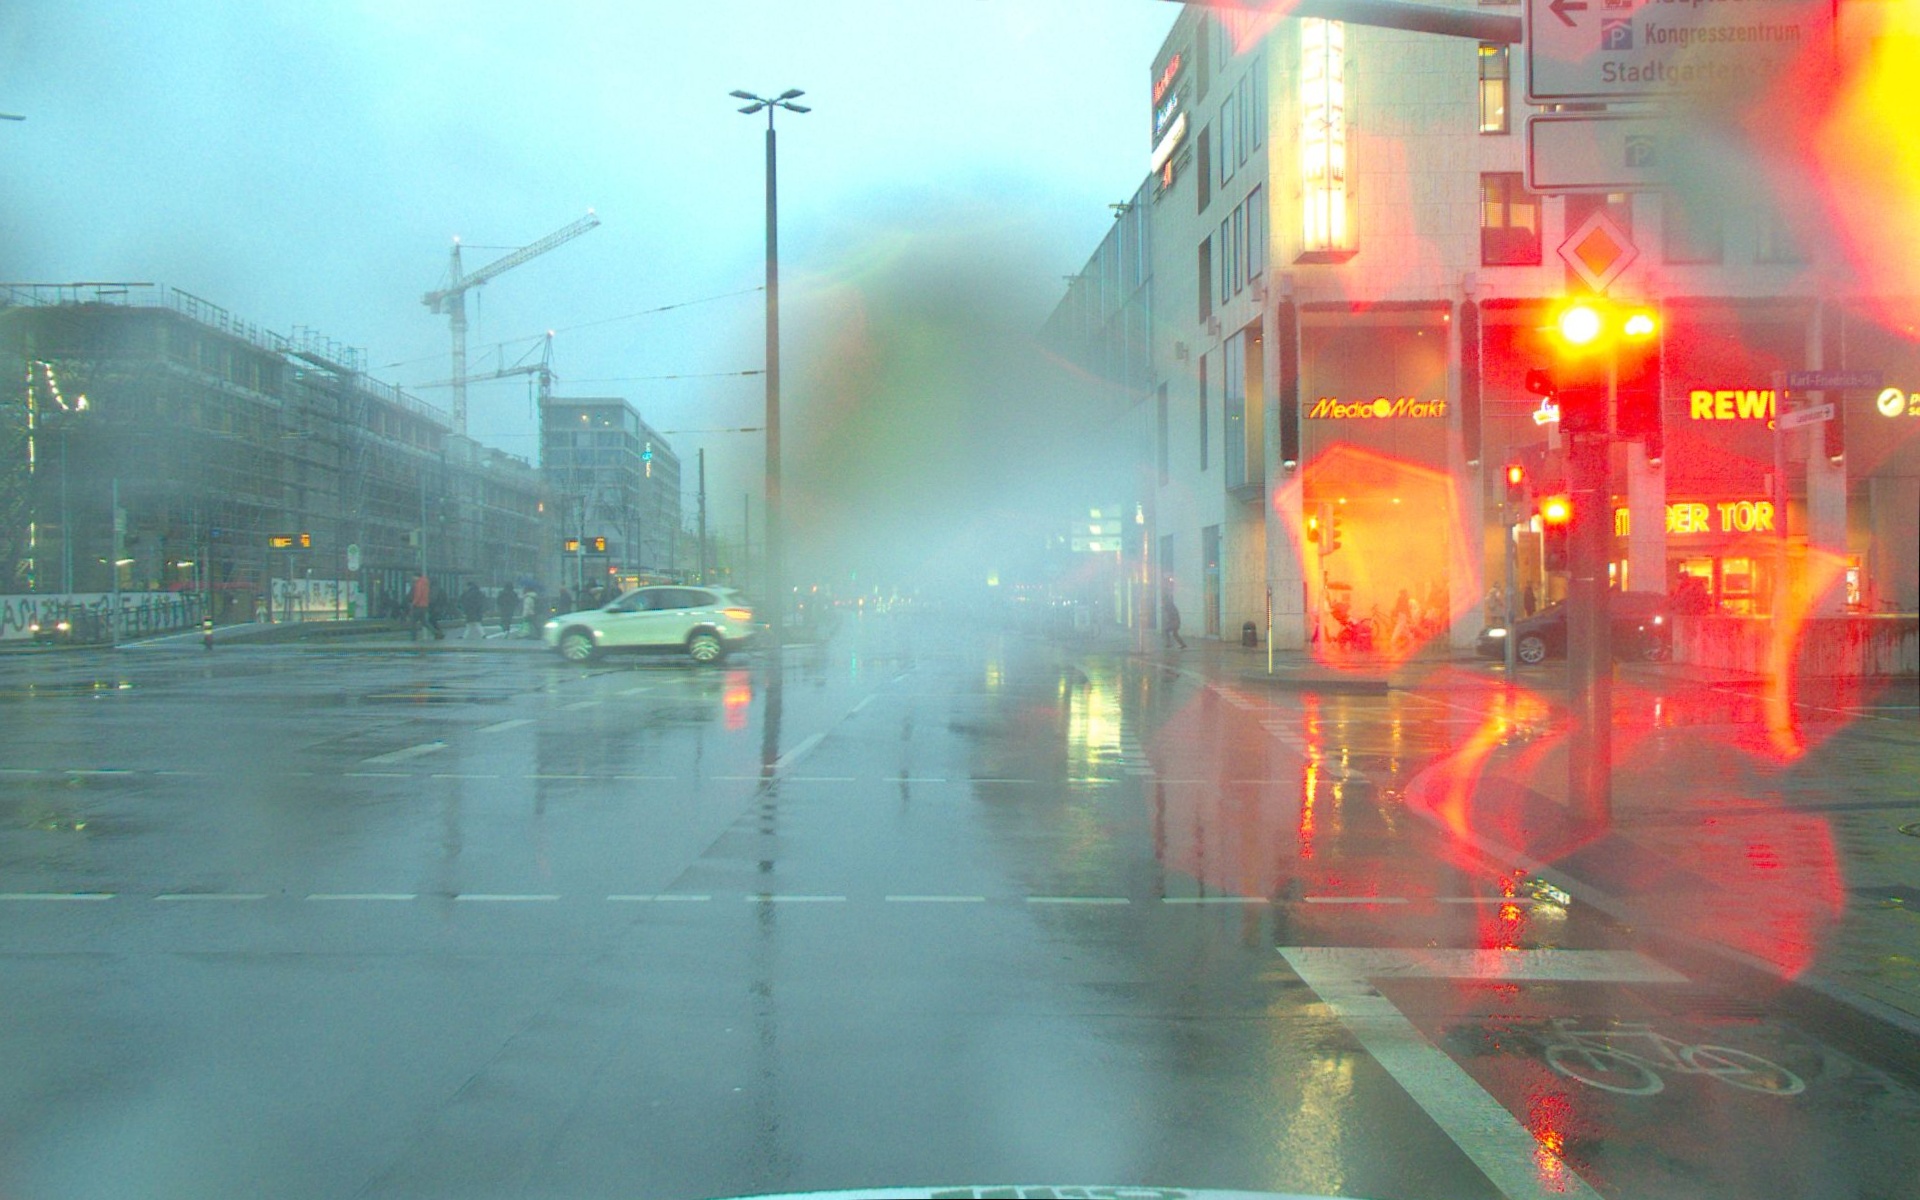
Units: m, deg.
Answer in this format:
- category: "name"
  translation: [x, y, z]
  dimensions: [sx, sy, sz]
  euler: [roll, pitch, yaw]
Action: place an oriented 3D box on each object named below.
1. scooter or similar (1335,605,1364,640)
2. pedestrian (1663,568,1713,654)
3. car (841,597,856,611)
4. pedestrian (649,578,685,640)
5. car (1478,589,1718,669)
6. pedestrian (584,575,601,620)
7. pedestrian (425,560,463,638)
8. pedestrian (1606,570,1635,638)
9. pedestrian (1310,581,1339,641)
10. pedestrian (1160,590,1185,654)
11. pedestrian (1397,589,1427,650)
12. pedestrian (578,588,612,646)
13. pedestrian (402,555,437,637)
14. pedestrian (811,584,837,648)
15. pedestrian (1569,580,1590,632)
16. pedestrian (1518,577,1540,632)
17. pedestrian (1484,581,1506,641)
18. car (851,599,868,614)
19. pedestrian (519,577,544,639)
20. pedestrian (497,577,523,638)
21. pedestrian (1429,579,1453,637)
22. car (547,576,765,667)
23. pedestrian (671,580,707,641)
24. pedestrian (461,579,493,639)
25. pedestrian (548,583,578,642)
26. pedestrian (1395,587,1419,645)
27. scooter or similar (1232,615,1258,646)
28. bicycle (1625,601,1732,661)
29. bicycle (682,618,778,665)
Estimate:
- category: "scooter or similar"
  translation: [11.245, 0.646, 47.738]
  dimensions: [0.726, 1.011, 0.400]
  euler: [-1, 0, -1]
- category: "pedestrian"
  translation: [13.990, 0.212, 31.790]
  dimensions: [0.764, 1.623, 0.613]
  euler: [-1, 0, 14]
- category: "car"
  translation: [-14.669, 0.542, 217.801]
  dimensions: [1.850, 1.814, 3.713]
  euler: [1, -1, -1]
- category: "pedestrian"
  translation: [-8.179, 0.252, 46.214]
  dimensions: [0.813, 1.709, 0.620]
  euler: [-1, 0, 6]
- category: "car"
  translation: [13.422, 0.601, 35.024]
  dimensions: [4.440, 1.601, 1.798]
  euler: [-1, 0, 7]
- category: "pedestrian"
  translation: [-14.815, -0.107, 66.704]
  dimensions: [0.648, 1.776, 0.734]
  euler: [-1, 0, -11]
- category: "pedestrian"
  translation: [-13.815, -0.024, 44.282]
  dimensions: [0.770, 2.049, 0.604]
  euler: [-1, 0, -39]
- category: "pedestrian"
  translation: [16.622, 0.098, 41.623]
  dimensions: [0.526, 1.715, 0.547]
  euler: [-1, 0, 37]
- category: "pedestrian"
  translation: [10.511, 0.317, 47.724]
  dimensions: [0.726, 1.696, 0.400]
  euler: [-1, 0, -1]
- category: "pedestrian"
  translation: [6.018, 0.625, 46.829]
  dimensions: [0.620, 1.803, 0.483]
  euler: [-1, 0, -2]
- category: "pedestrian"
  translation: [13.389, 0.580, 48.978]
  dimensions: [0.688, 1.791, 0.667]
  euler: [-1, 0, -1]
- category: "pedestrian"
  translation: [-10.358, 0.480, 46.935]
  dimensions: [0.793, 1.635, 0.745]
  euler: [-1, 0, -1]
- category: "pedestrian"
  translation: [-14.225, -0.109, 43.541]
  dimensions: [0.682, 2.124, 0.604]
  euler: [0, 0, -41]
- category: "pedestrian"
  translation: [-3.901, 0.458, 47.386]
  dimensions: [0.688, 1.791, 0.652]
  euler: [-1, 0, -1]
- category: "pedestrian"
  translation: [20.995, 0.211, 56.068]
  dimensions: [0.526, 1.748, 0.500]
  euler: [-1, 0, 37]
- category: "pedestrian"
  translation: [18.226, 0.141, 53.014]
  dimensions: [0.526, 1.748, 0.500]
  euler: [-1, 0, 37]
- category: "pedestrian"
  translation: [16.027, 0.327, 49.548]
  dimensions: [0.501, 1.791, 0.374]
  euler: [-1, 0, -1]
- category: "car"
  translation: [-12.363, 0.831, 203.840]
  dimensions: [1.850, 1.814, 3.713]
  euler: [1, -1, -1]
- category: "pedestrian"
  translation: [-12.361, 0.228, 47.730]
  dimensions: [0.607, 1.776, 0.612]
  euler: [-1, 0, -6]
- category: "pedestrian"
  translation: [-13.333, 0.228, 49.013]
  dimensions: [0.607, 1.776, 0.612]
  euler: [-1, 0, -6]
- category: "pedestrian"
  translation: [14.646, 0.233, 50.352]
  dimensions: [0.526, 1.748, 0.500]
  euler: [-1, 0, 37]
- category: "car"
  translation: [-6.299, 0.436, 34.593]
  dimensions: [4.215, 1.792, 1.706]
  euler: [-1, 0, -1]
- category: "pedestrian"
  translation: [-7.685, 0.289, 46.869]
  dimensions: [0.825, 1.718, 0.678]
  euler: [-1, 0, 9]
- category: "pedestrian"
  translation: [-13.420, 0.242, 45.945]
  dimensions: [0.692, 1.647, 0.680]
  euler: [-1, 0, -3]
- category: "pedestrian"
  translation: [-11.257, 0.345, 46.921]
  dimensions: [0.692, 1.647, 0.612]
  euler: [-1, 0, -3]
- category: "pedestrian"
  translation: [13.614, 0.473, 50.374]
  dimensions: [0.526, 1.748, 0.500]
  euler: [-1, 0, 37]
- category: "scooter or similar"
  translation: [8.862, 0.938, 51.391]
  dimensions: [0.726, 0.932, 0.400]
  euler: [-1, 0, 0]
- category: "bicycle"
  translation: [13.818, 0.598, 31.857]
  dimensions: [1.806, 1.112, 0.618]
  euler: [-1, 0, 14]
- category: "bicycle"
  translation: [-5.282, 0.951, 38.034]
  dimensions: [2.083, 1.008, 0.542]
  euler: [-2, -1, 5]
